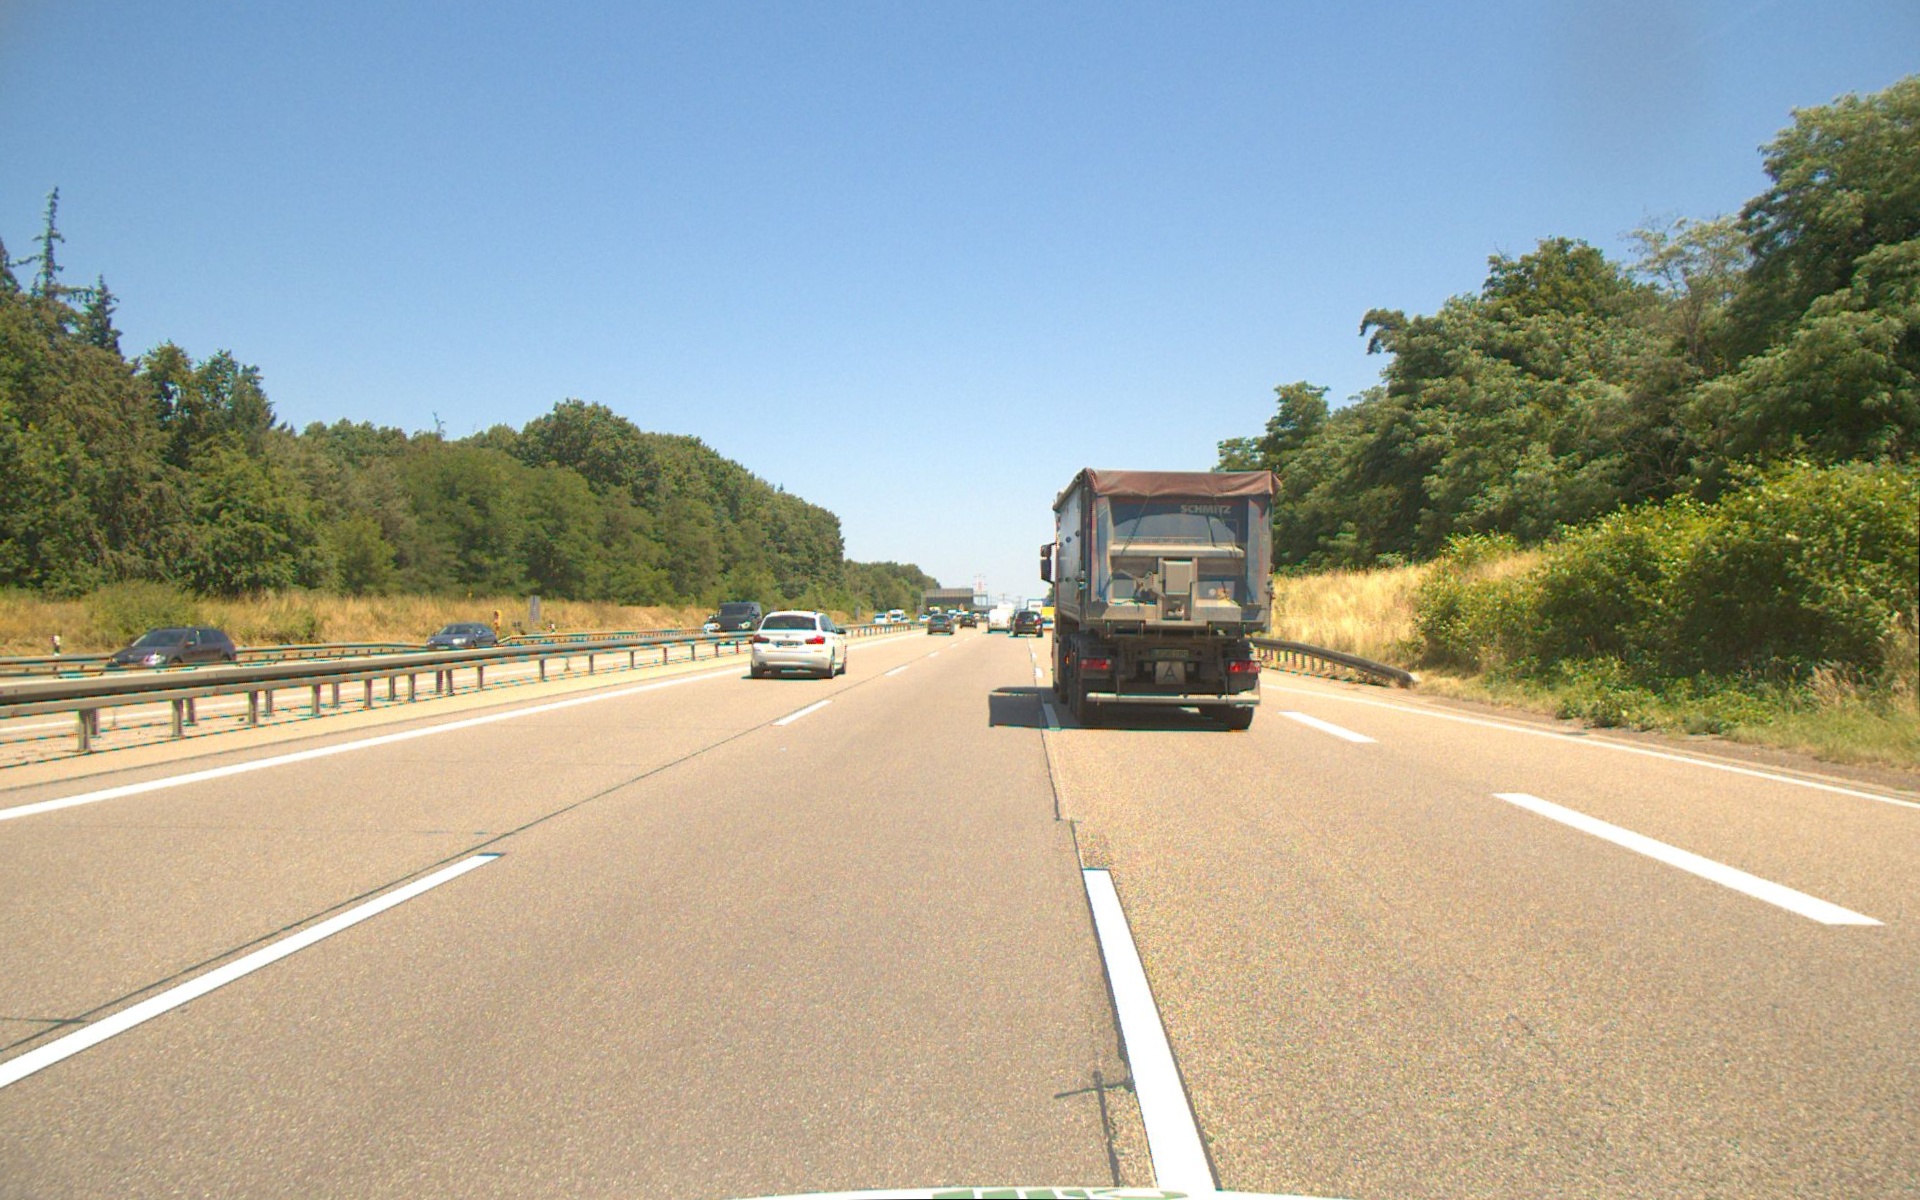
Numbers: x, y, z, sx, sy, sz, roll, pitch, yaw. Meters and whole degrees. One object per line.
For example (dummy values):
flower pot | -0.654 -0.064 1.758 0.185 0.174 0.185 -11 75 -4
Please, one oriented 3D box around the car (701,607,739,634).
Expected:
car | -17.968 1.533 124.165 1.952 1.860 4.643 -2 0 2

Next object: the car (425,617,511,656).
car | -20.332 1.477 68.548 1.887 1.489 4.944 -1 0 2

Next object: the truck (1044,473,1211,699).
truck | 2.991 -0.251 31.009 2.629 3.824 5.945 0 0 1

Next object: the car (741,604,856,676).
car | -3.656 0.885 38.368 1.923 1.530 5.406 1 -1 2

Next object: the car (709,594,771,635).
car | -11.033 0.742 83.264 2.232 1.974 4.944 -1 0 2

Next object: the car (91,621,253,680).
car | -21.996 1.374 46.409 2.042 1.489 4.944 -1 0 2

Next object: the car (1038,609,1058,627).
car | 7.739 1.571 145.253 1.783 1.518 3.738 1 -1 3

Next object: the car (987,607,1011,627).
car | 3.063 1.318 129.904 1.855 1.495 4.262 1 0 2

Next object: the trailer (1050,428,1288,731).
trailer | 2.891 -0.270 25.495 2.680 3.824 9.110 0 0 1

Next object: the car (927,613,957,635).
car | -1.249 1.640 116.281 1.794 1.457 5.001 1 0 2

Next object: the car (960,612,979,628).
car | 0.984 2.035 171.906 1.837 1.608 3.929 1 0 2

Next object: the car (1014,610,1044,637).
car | 4.565 1.567 109.893 1.794 1.701 4.000 1 -1 0

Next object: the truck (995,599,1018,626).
truck | 5.221 1.389 185.267 2.378 2.935 6.205 1 -1 0

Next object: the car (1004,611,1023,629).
car | 4.818 1.809 148.911 1.698 1.518 3.738 1 -1 2
